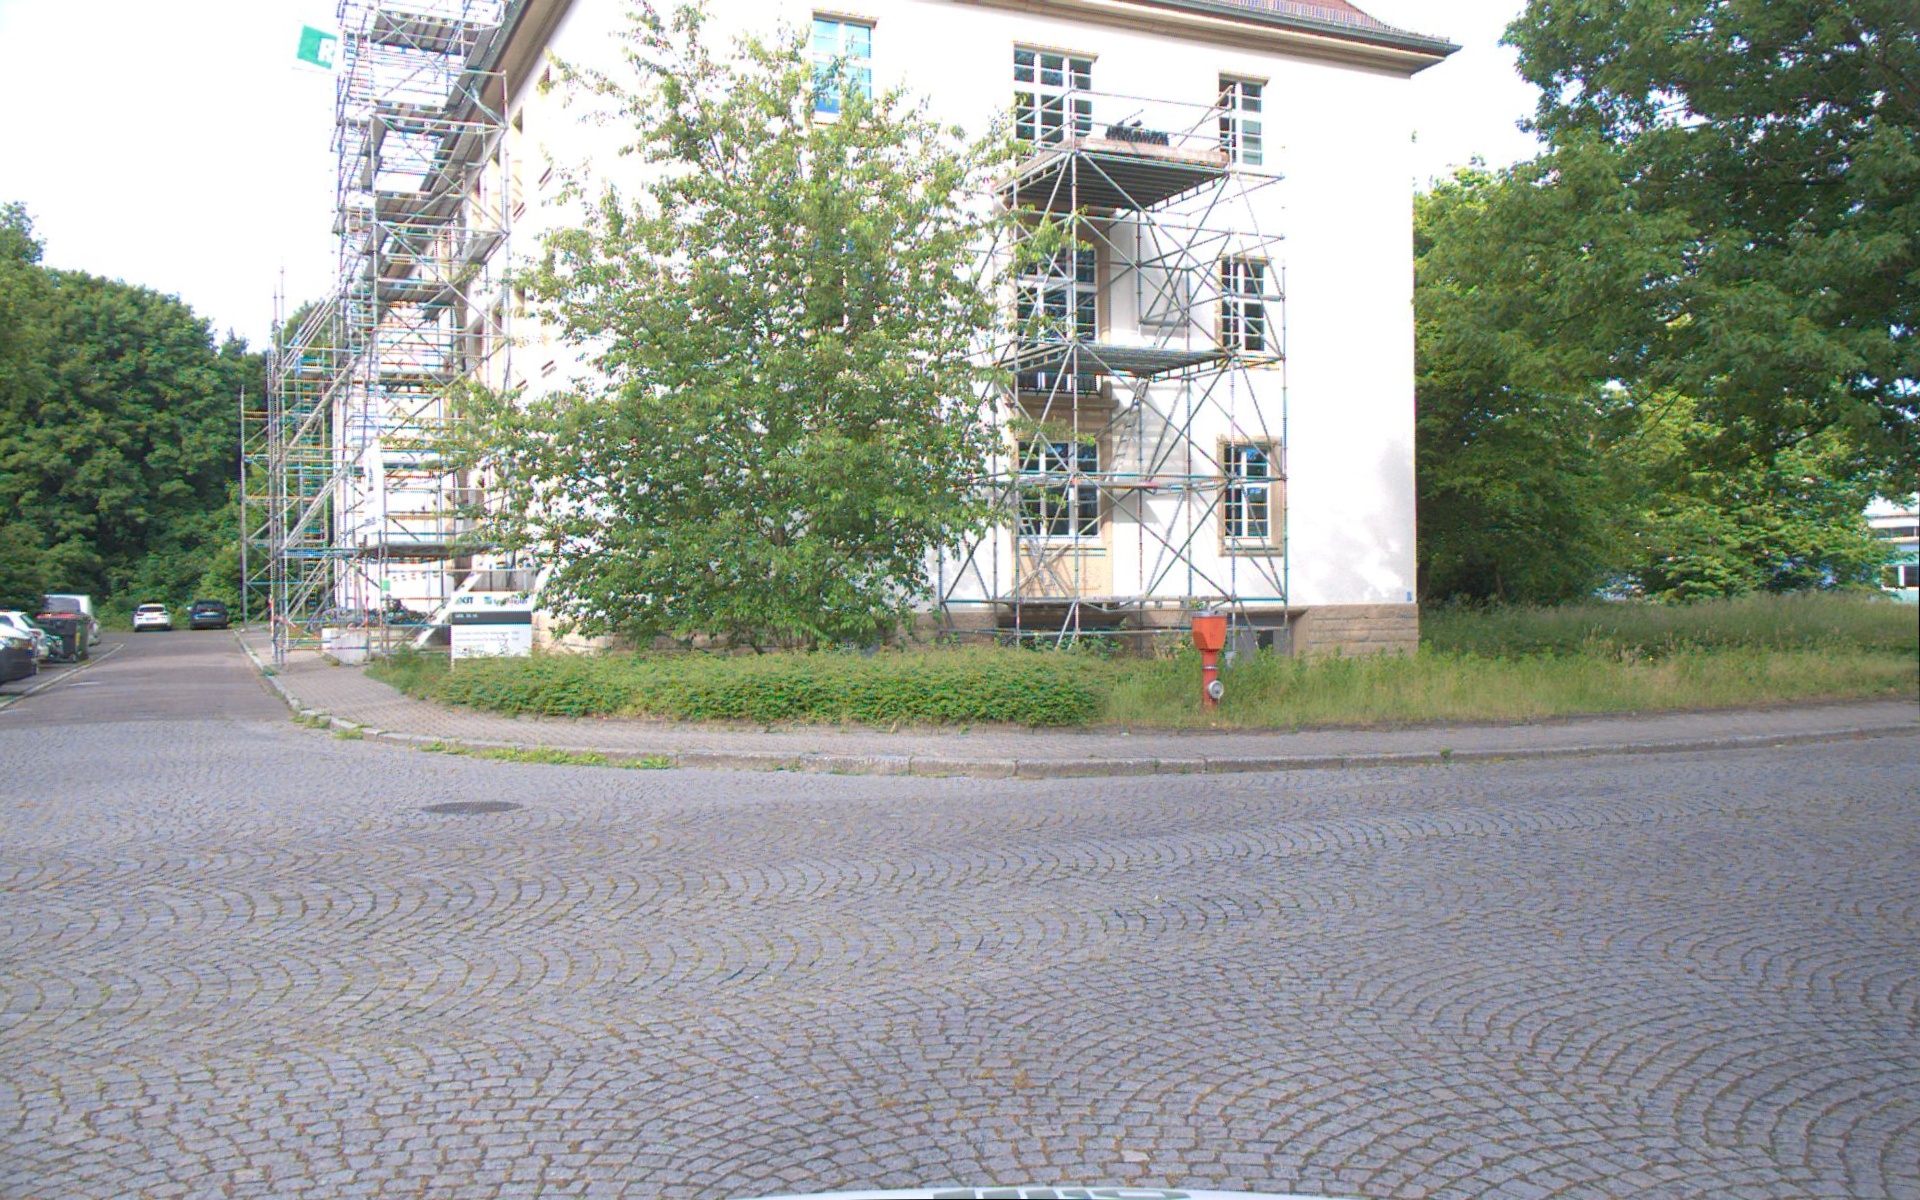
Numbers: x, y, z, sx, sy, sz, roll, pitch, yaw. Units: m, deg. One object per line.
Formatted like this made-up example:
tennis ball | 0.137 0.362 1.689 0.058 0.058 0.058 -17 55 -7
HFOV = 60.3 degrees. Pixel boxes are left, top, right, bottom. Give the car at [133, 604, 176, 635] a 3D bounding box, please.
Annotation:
car | -43.390 1.044 89.075 1.978 1.575 3.923 2 -2 -27

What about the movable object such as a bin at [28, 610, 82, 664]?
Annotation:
movable object such as a bin | -24.951 1.018 45.635 1.168 1.432 0.968 2 -2 -24

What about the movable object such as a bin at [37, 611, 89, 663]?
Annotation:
movable object such as a bin | -25.339 1.040 46.739 1.168 1.432 0.968 2 -2 -24

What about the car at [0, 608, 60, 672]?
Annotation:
car | -23.947 0.934 39.899 3.570 1.507 1.812 2 -2 -17

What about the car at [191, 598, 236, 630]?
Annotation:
car | -40.912 0.786 90.709 2.034 1.621 3.973 2 -2 -22

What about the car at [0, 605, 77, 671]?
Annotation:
car | -24.566 0.927 41.830 3.624 1.620 1.755 2 -2 -18

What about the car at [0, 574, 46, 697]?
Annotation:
car | -18.680 0.606 28.320 5.136 2.096 2.170 1 -1 -26

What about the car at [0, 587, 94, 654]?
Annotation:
car | -30.025 0.646 53.029 3.943 2.049 1.903 2 -2 -29
